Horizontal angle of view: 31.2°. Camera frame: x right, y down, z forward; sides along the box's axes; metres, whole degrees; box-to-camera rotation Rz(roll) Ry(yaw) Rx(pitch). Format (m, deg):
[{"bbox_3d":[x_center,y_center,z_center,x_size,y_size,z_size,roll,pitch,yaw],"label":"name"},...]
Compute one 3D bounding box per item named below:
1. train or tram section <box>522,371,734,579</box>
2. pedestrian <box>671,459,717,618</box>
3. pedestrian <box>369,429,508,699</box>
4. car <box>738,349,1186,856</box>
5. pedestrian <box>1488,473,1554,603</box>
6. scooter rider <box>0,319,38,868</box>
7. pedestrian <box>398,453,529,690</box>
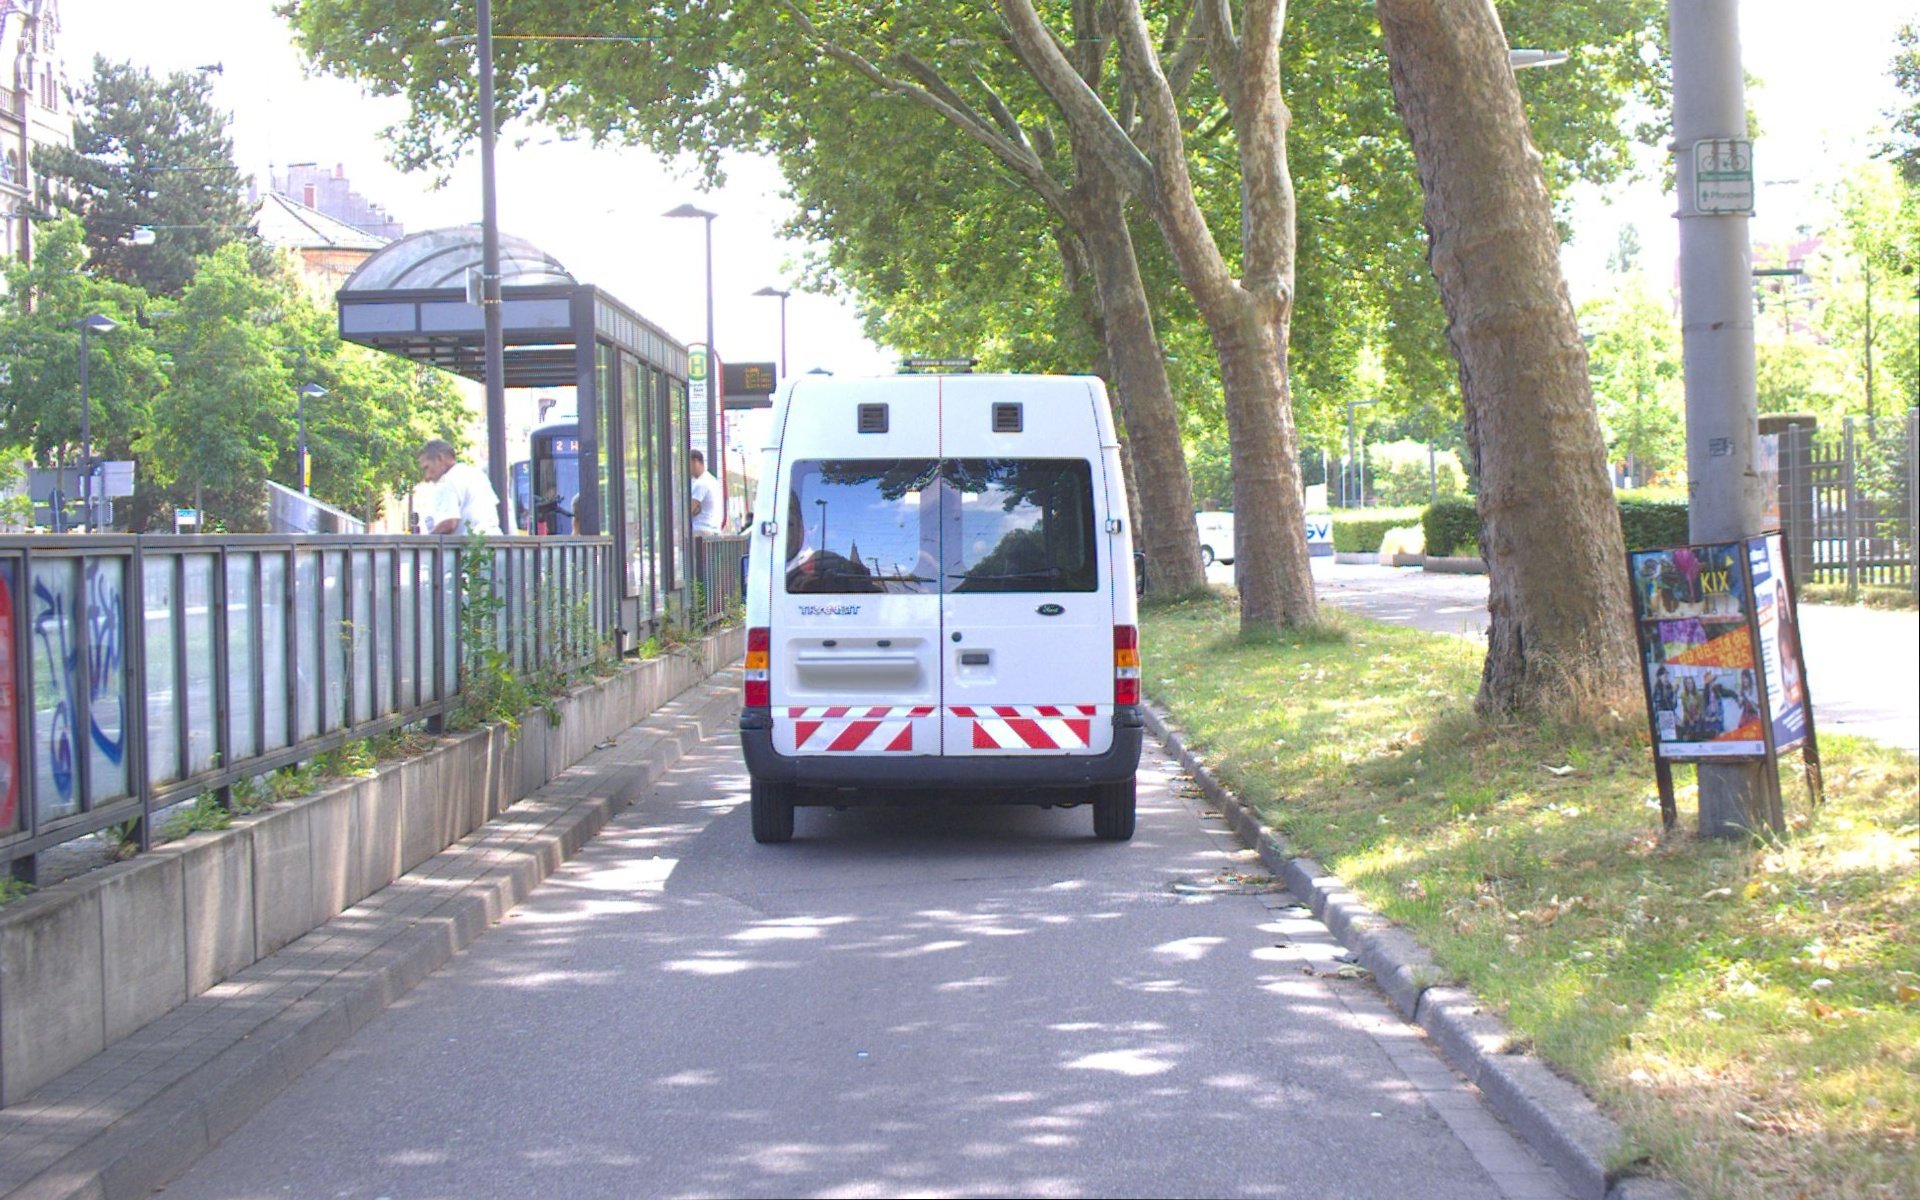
[{"bbox_3d":[-6.173,-2.301,66.039,2.723,3.572,13.017,-1,1,0],"label":"train or tram section"},{"bbox_3d":[-2.690,-0.620,34.793,0.385,1.586,0.439,-2,1,0],"label":"pedestrian"},{"bbox_3d":[-2.997,-0.211,19.797,0.676,1.510,0.596,-2,1,-1],"label":"pedestrian"},{"bbox_3d":[-0.032,-0.058,18.455,2.047,2.325,4.715,-1,2,-1],"label":"car"},{"bbox_3d":[7.125,-0.789,43.682,0.693,1.620,0.637,-1,1,0],"label":"pedestrian"},{"bbox_3d":[-3.066,-0.014,9.681,0.654,1.565,0.901,-1,1,0],"label":"scooter rider"},{"bbox_3d":[-3.002,-0.178,20.820,0.676,1.398,0.596,-2,1,-1],"label":"pedestrian"}]
